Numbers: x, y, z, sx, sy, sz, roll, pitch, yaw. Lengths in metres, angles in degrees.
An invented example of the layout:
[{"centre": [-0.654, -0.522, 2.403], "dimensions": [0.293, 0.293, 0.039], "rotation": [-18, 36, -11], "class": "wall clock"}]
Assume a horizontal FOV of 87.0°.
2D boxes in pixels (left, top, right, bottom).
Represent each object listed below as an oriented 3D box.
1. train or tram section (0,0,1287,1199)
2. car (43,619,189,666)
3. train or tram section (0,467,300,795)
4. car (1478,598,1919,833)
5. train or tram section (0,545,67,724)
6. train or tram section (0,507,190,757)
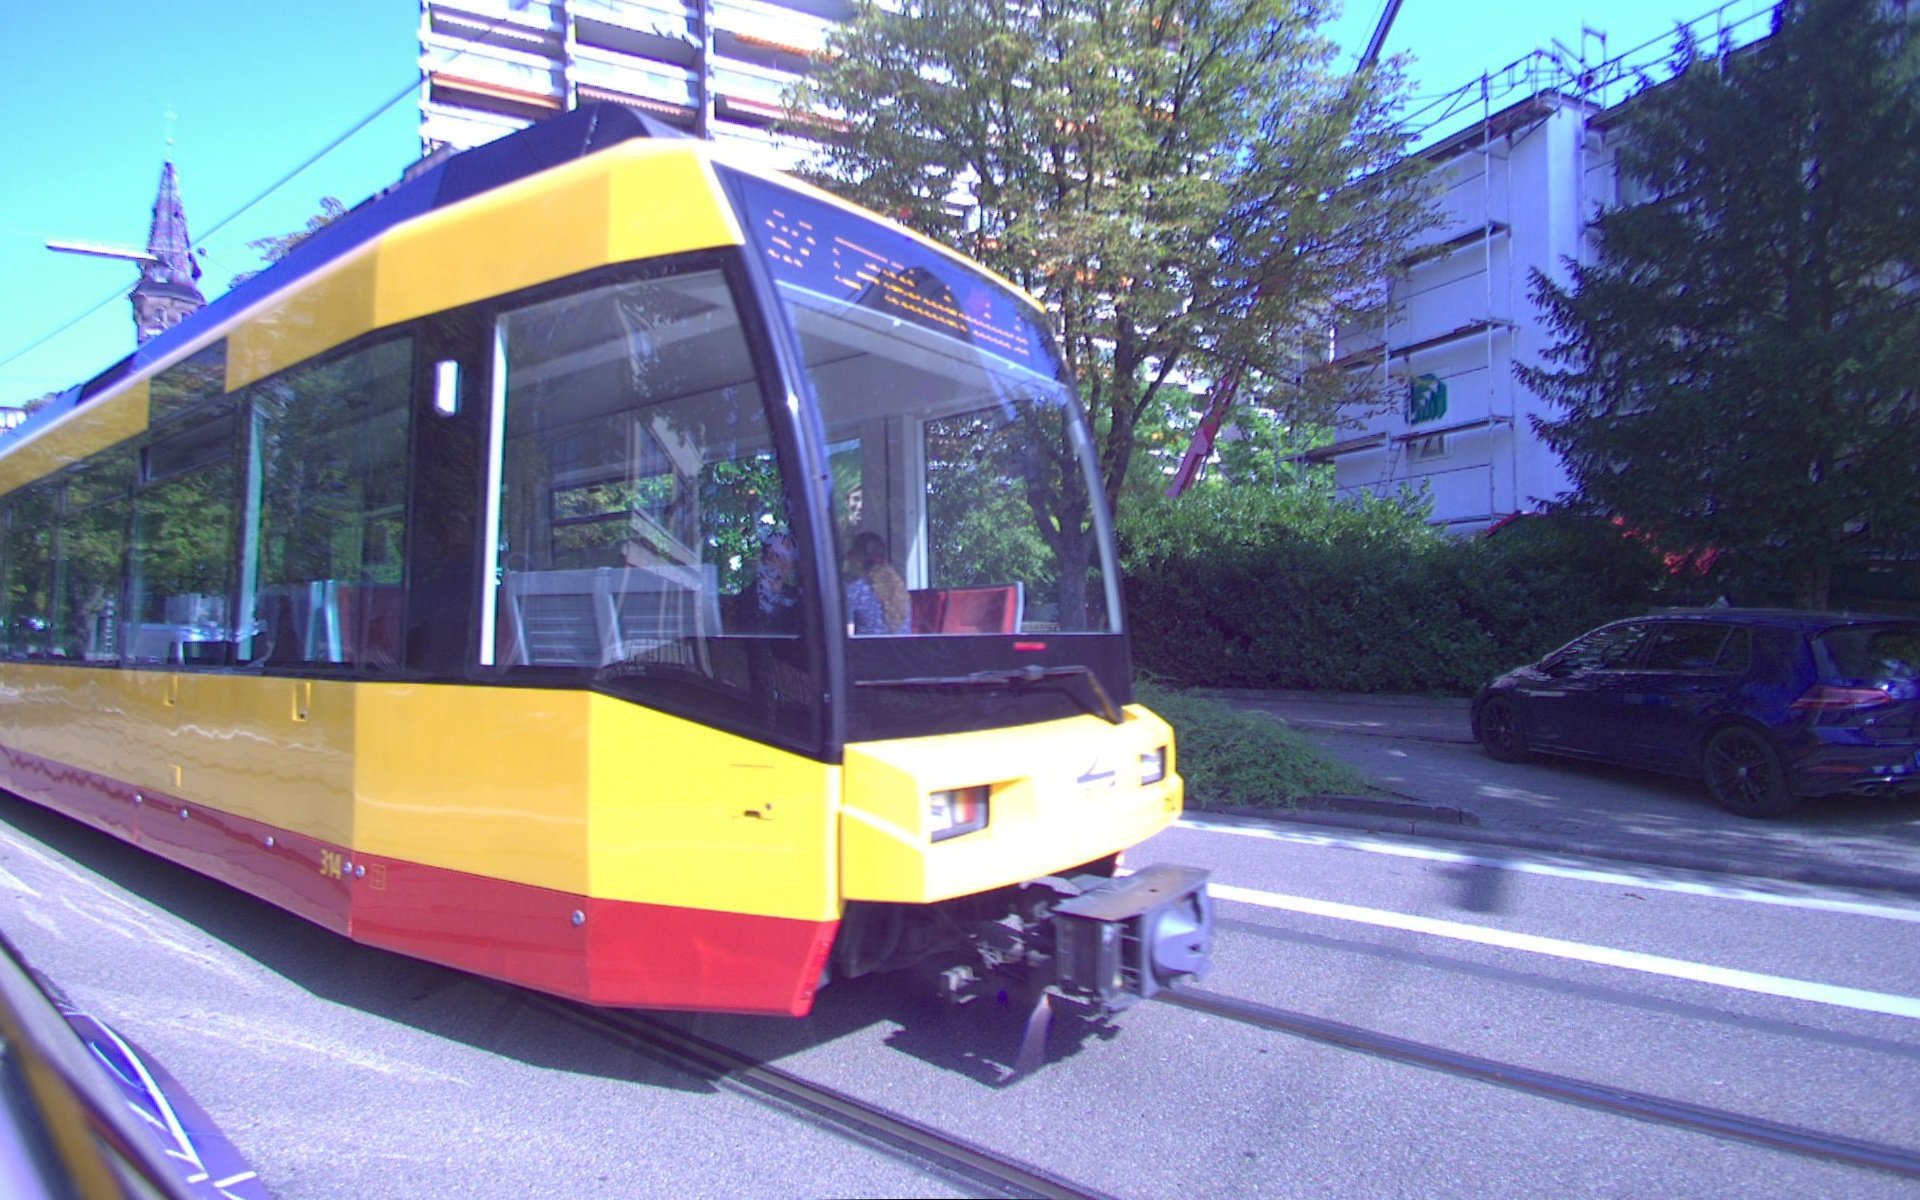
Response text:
[{"centre": [-3.619, 0.159, 6.389], "dimensions": [10.527, 2.883, 2.655], "rotation": [-2, -2, 38], "class": "train or tram section"}, {"centre": [-31.289, 1.537, 37.665], "dimensions": [1.768, 1.490, 3.990], "rotation": [-2, 1, 8], "class": "car"}, {"centre": [-9.260, 0.319, 10.811], "dimensions": [3.644, 2.878, 2.680], "rotation": [-2, -2, 38], "class": "train or tram section"}, {"centre": [6.182, 0.753, 8.260], "dimensions": [1.668, 1.453, 3.799], "rotation": [-1, -1, -5], "class": "car"}, {"centre": [-21.974, 0.732, 20.754], "dimensions": [15.432, 2.916, 2.703], "rotation": [-2, -2, 38], "class": "train or tram section"}, {"centre": [-13.305, 0.447, 13.962], "dimensions": [6.534, 2.871, 2.703], "rotation": [-2, -2, 38], "class": "train or tram section"}]
